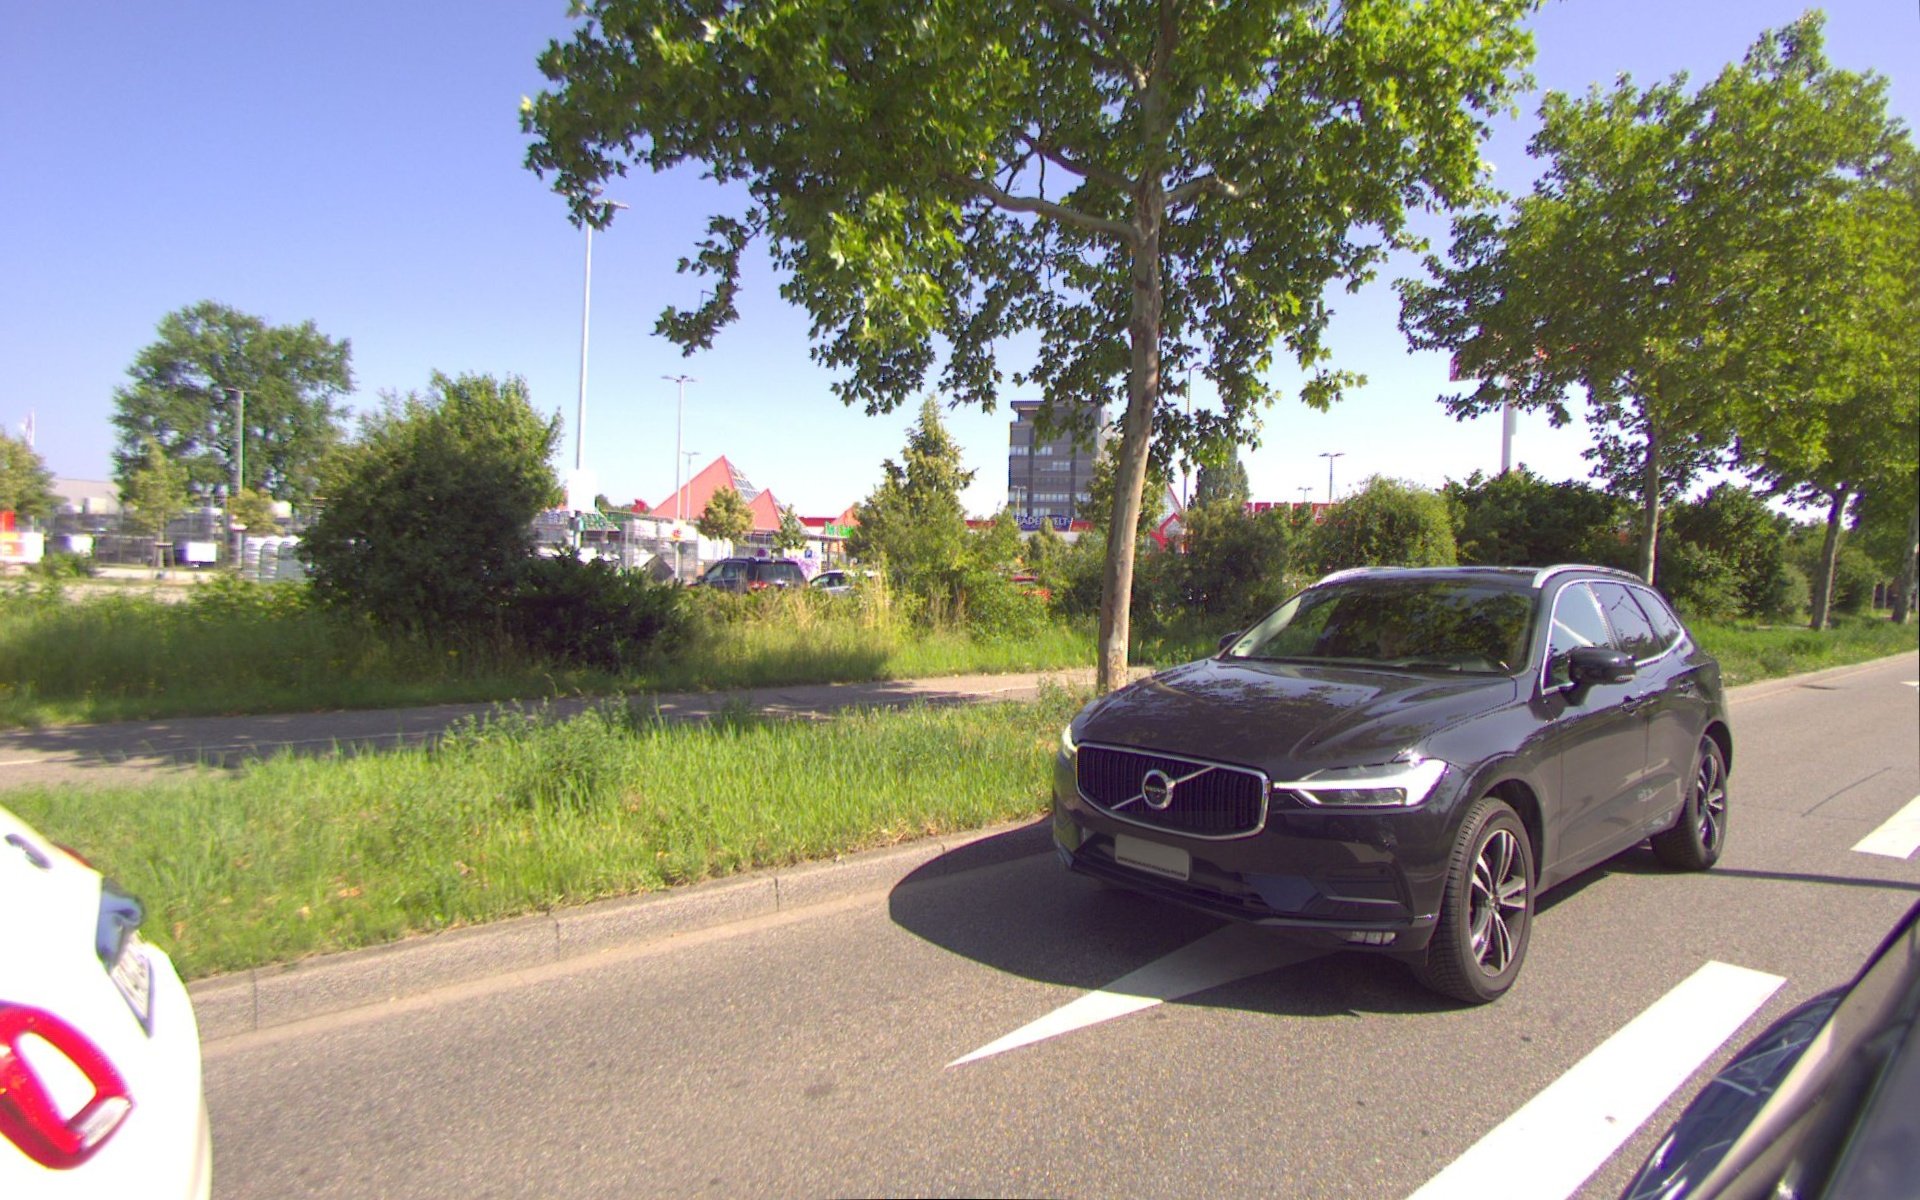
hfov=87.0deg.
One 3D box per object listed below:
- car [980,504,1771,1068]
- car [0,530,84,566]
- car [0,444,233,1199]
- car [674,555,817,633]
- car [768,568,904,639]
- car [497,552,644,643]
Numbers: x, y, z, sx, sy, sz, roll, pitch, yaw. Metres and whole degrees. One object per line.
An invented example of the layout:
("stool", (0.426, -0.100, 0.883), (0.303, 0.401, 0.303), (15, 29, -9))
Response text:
("car", (2.400, 0.506, 5.148), (4.485, 1.642, 1.923), (-1, 1, -41))
("car", (-55.507, -3.068, 60.532), (1.971, 2.039, 4.370), (0, 1, 15))
("car", (-2.733, 0.560, 0.790), (3.456, 1.454, 1.665), (-1, 1, -39))
("car", (-5.173, -0.174, 24.170), (3.549, 1.717, 1.692), (1, 1, 45))
("car", (-3.257, 0.042, 26.286), (3.549, 1.717, 1.692), (1, 1, 45))
("car", (-8.121, -0.078, 20.982), (1.690, 1.717, 3.552), (0, 1, -42))
